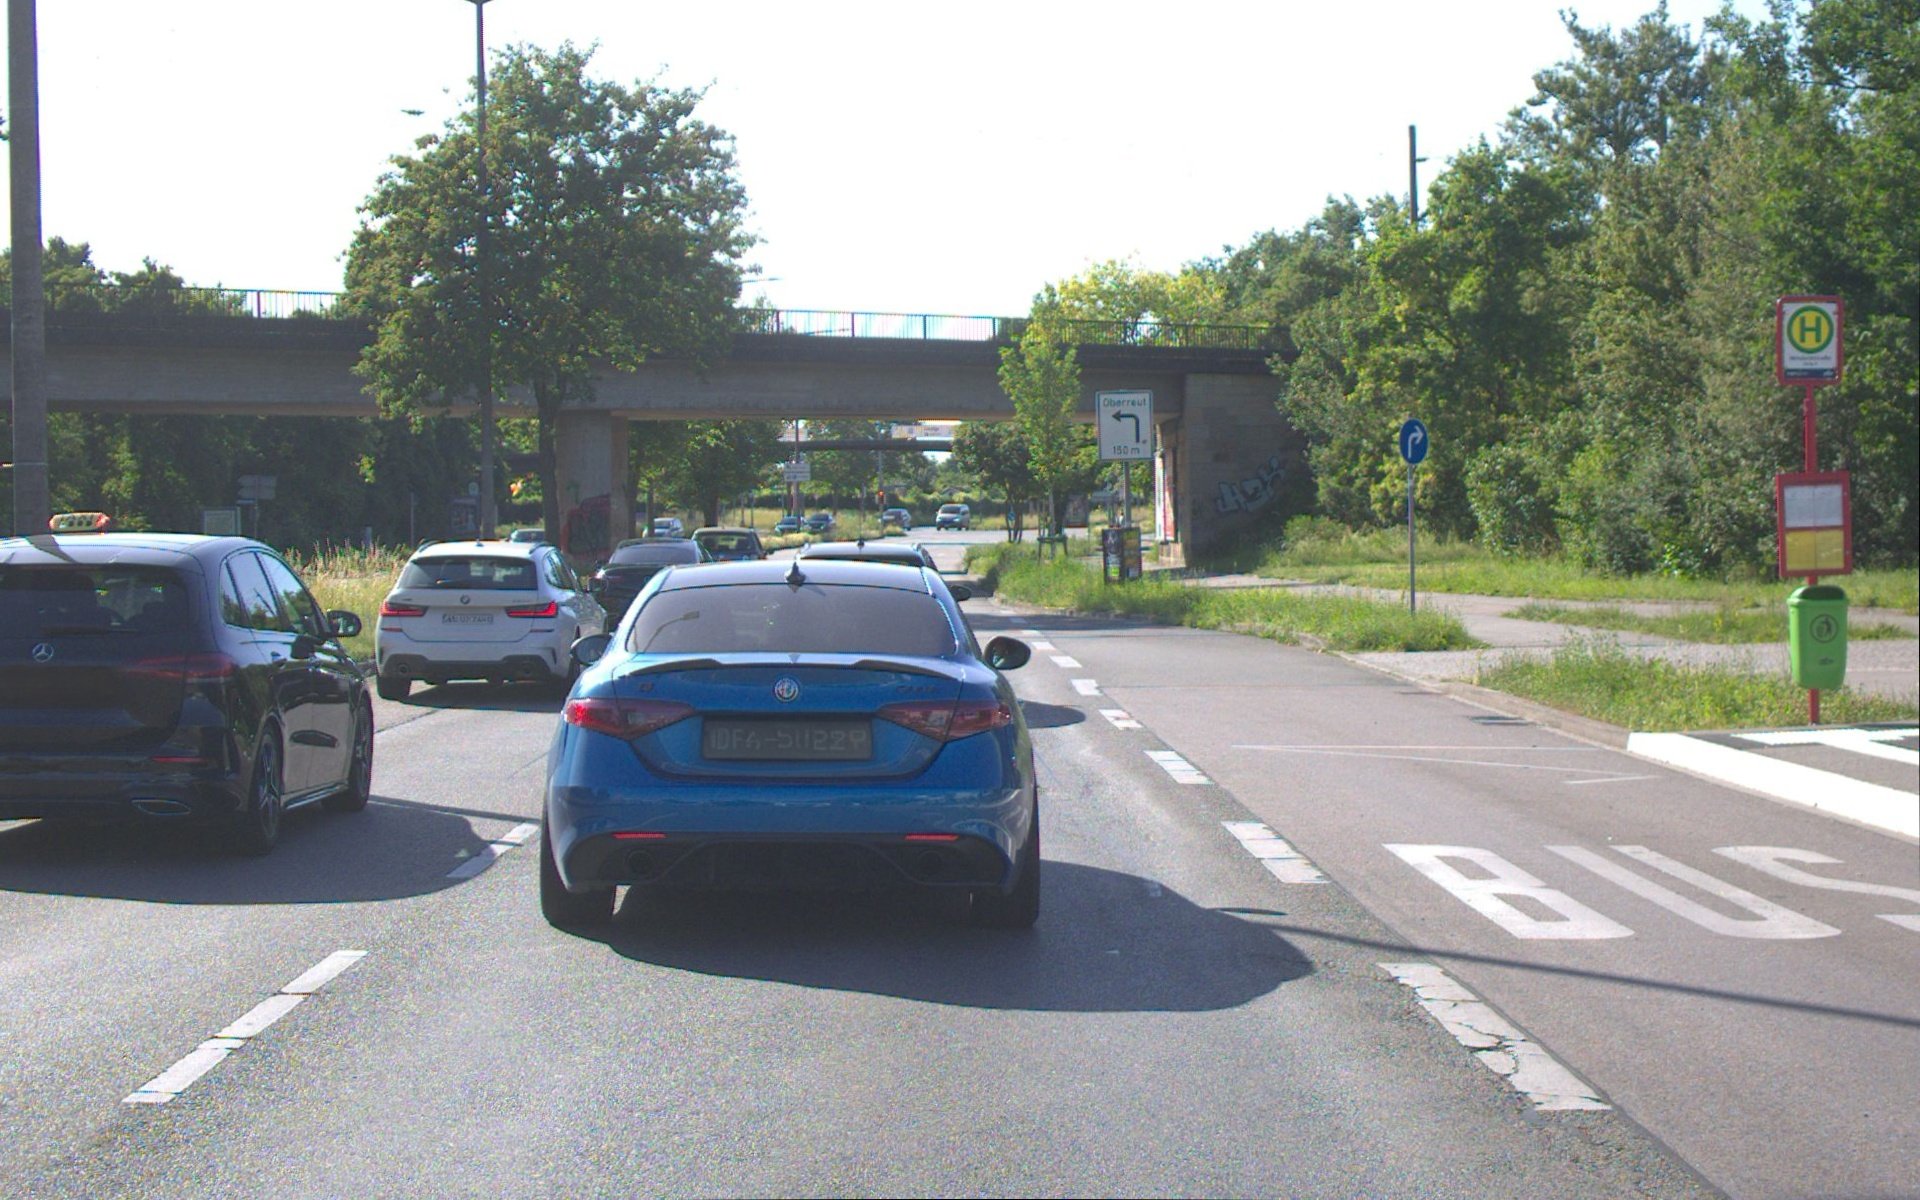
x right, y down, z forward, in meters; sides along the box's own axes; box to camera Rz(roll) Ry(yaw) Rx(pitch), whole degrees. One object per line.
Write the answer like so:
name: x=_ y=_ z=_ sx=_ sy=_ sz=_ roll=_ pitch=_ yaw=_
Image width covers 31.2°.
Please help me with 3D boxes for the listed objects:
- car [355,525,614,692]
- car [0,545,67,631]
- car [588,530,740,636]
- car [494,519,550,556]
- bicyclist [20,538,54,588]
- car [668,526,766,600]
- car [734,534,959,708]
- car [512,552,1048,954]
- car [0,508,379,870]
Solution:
car: x=-4.422 y=0.036 z=32.570 sx=1.883 sy=1.449 sz=4.527 roll=1 pitch=1 yaw=-1
car: x=-16.997 y=-0.193 z=60.194 sx=1.641 sy=1.446 sz=4.112 roll=-3 pitch=1 yaw=-1
car: x=-4.262 y=-0.273 z=50.144 sx=1.883 sy=1.449 sz=4.527 roll=1 pitch=1 yaw=-1
car: x=-18.000 y=-2.560 z=141.386 sx=1.816 sy=1.437 sz=4.090 roll=-1 pitch=1 yaw=-1
bicyclist: x=-25.881 y=-1.038 z=96.387 sx=0.680 sy=1.397 sz=1.027 roll=1 pitch=1 yaw=-1
car: x=-5.013 y=-0.799 z=71.355 sx=1.779 sy=1.449 sz=4.182 roll=-1 pitch=1 yaw=-1
car: x=-0.989 y=0.141 z=31.229 sx=1.883 sy=1.449 sz=4.527 roll=1 pitch=1 yaw=-1
car: x=-0.669 y=0.514 z=14.295 sx=1.883 sy=1.401 sz=4.224 roll=1 pitch=1 yaw=-1
car: x=-4.117 y=0.357 z=17.323 sx=1.708 sy=1.592 sz=4.224 roll=1 pitch=1 yaw=-1
